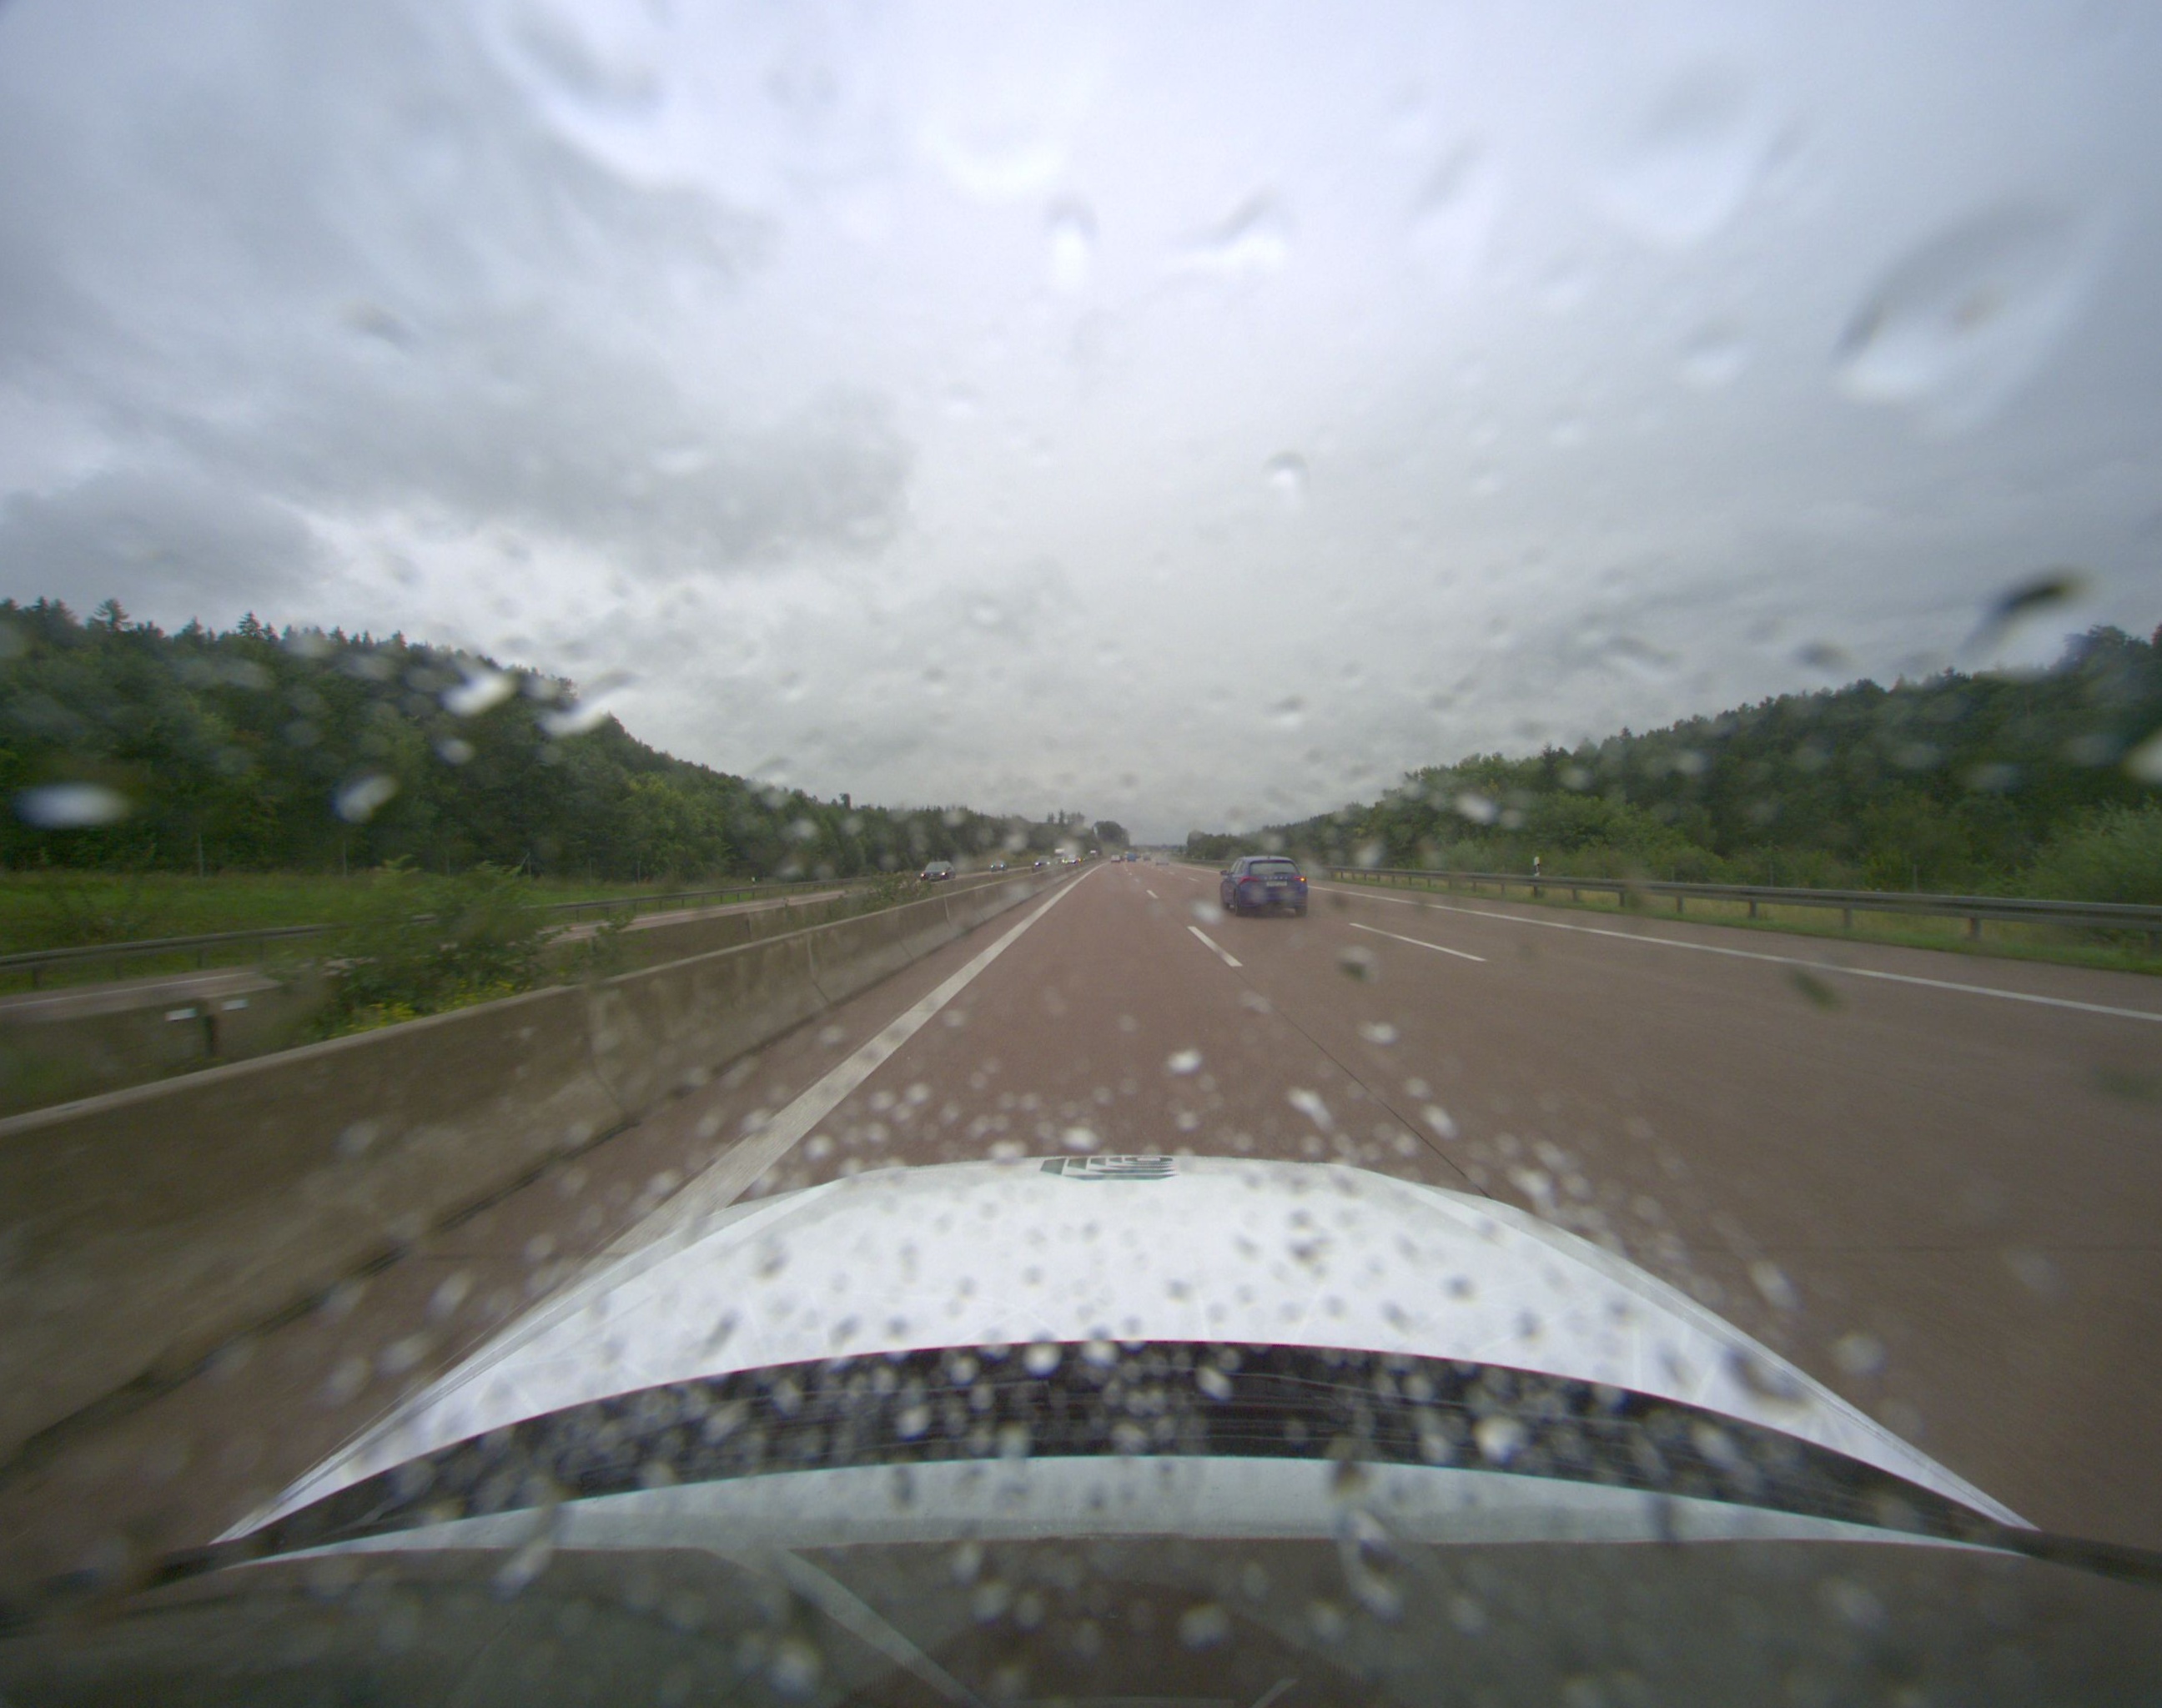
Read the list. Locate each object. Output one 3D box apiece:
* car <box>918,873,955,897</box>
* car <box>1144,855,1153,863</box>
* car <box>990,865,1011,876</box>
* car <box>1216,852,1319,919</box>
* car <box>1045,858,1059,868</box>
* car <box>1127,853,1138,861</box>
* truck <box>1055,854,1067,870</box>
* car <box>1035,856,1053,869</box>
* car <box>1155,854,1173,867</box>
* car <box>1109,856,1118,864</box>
[{"bbox_3d":[-10.222,2.173,57.761,1.709,1.582,4.317,-2,-1,1],"label":"car"},{"bbox_3d":[17.107,1.368,207.587,1.987,2.014,4.000,0,-1,1],"label":"car"},{"bbox_3d":[-11.570,2.323,117.002,1.984,1.560,5.751,0,-1,4],"label":"car"},{"bbox_3d":[4.704,0.777,21.112,1.765,1.564,4.146,0,-1,1],"label":"car"},{"bbox_3d":[-5.661,1.845,160.251,2.271,1.861,5.731,0,-1,3],"label":"car"},{"bbox_3d":[12.237,0.692,192.349,2.314,1.750,4.877,0,-1,1],"label":"car"},{"bbox_3d":[-5.428,2.227,221.100,2.757,4.176,6.005,-3,-2,3],"label":"truck"},{"bbox_3d":[-4.568,1.058,101.298,1.857,1.551,4.810,0,0,2],"label":"car"},{"bbox_3d":[12.310,0.979,121.023,2.314,1.750,4.877,0,-1,1],"label":"car"},{"bbox_3d":[6.502,1.220,164.302,1.867,1.444,4.878,0,-1,1],"label":"car"}]
